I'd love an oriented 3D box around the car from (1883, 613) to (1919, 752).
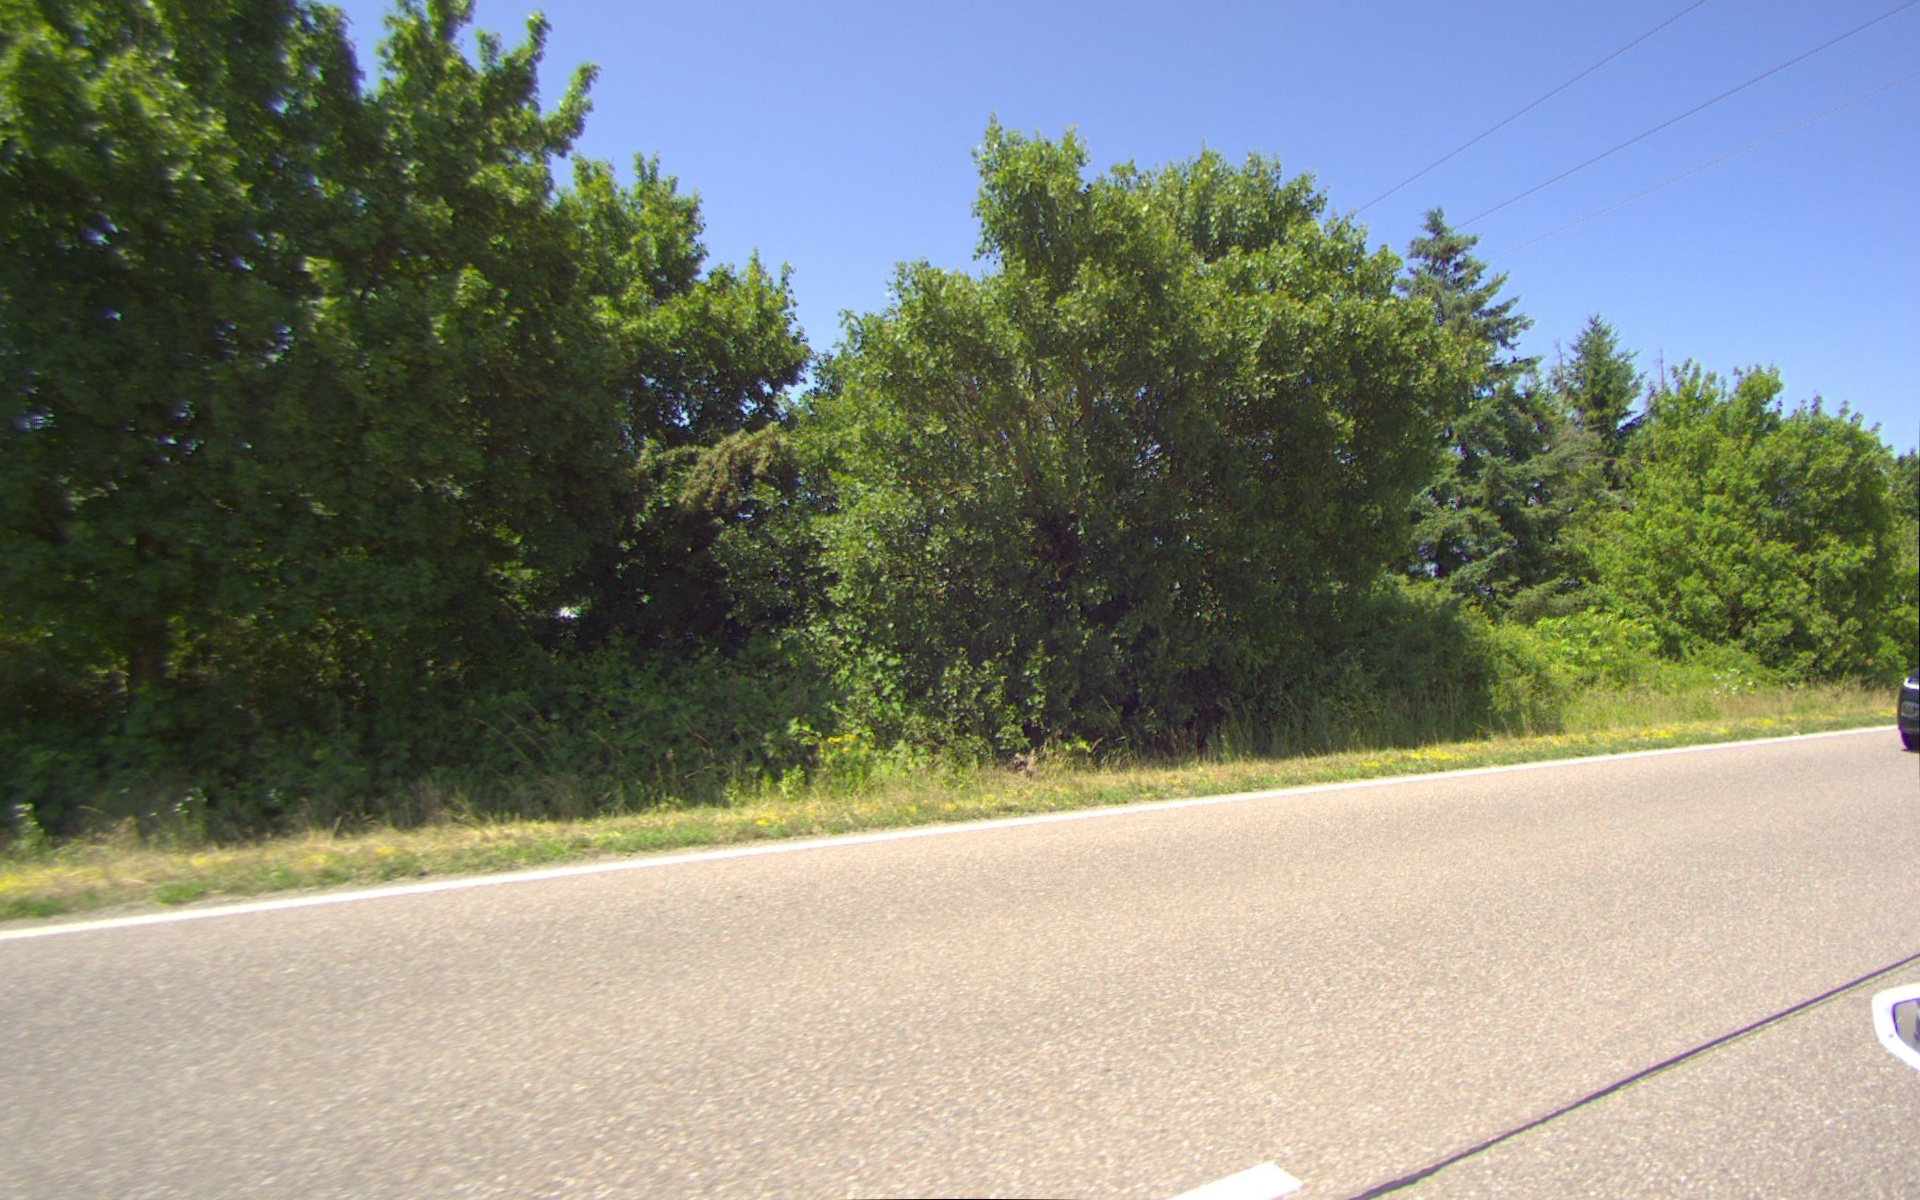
[{"bbox_3d":[12.848,0.988,12.001,3.628,1.587,1.691,1,0,-30],"label":"car"}]
